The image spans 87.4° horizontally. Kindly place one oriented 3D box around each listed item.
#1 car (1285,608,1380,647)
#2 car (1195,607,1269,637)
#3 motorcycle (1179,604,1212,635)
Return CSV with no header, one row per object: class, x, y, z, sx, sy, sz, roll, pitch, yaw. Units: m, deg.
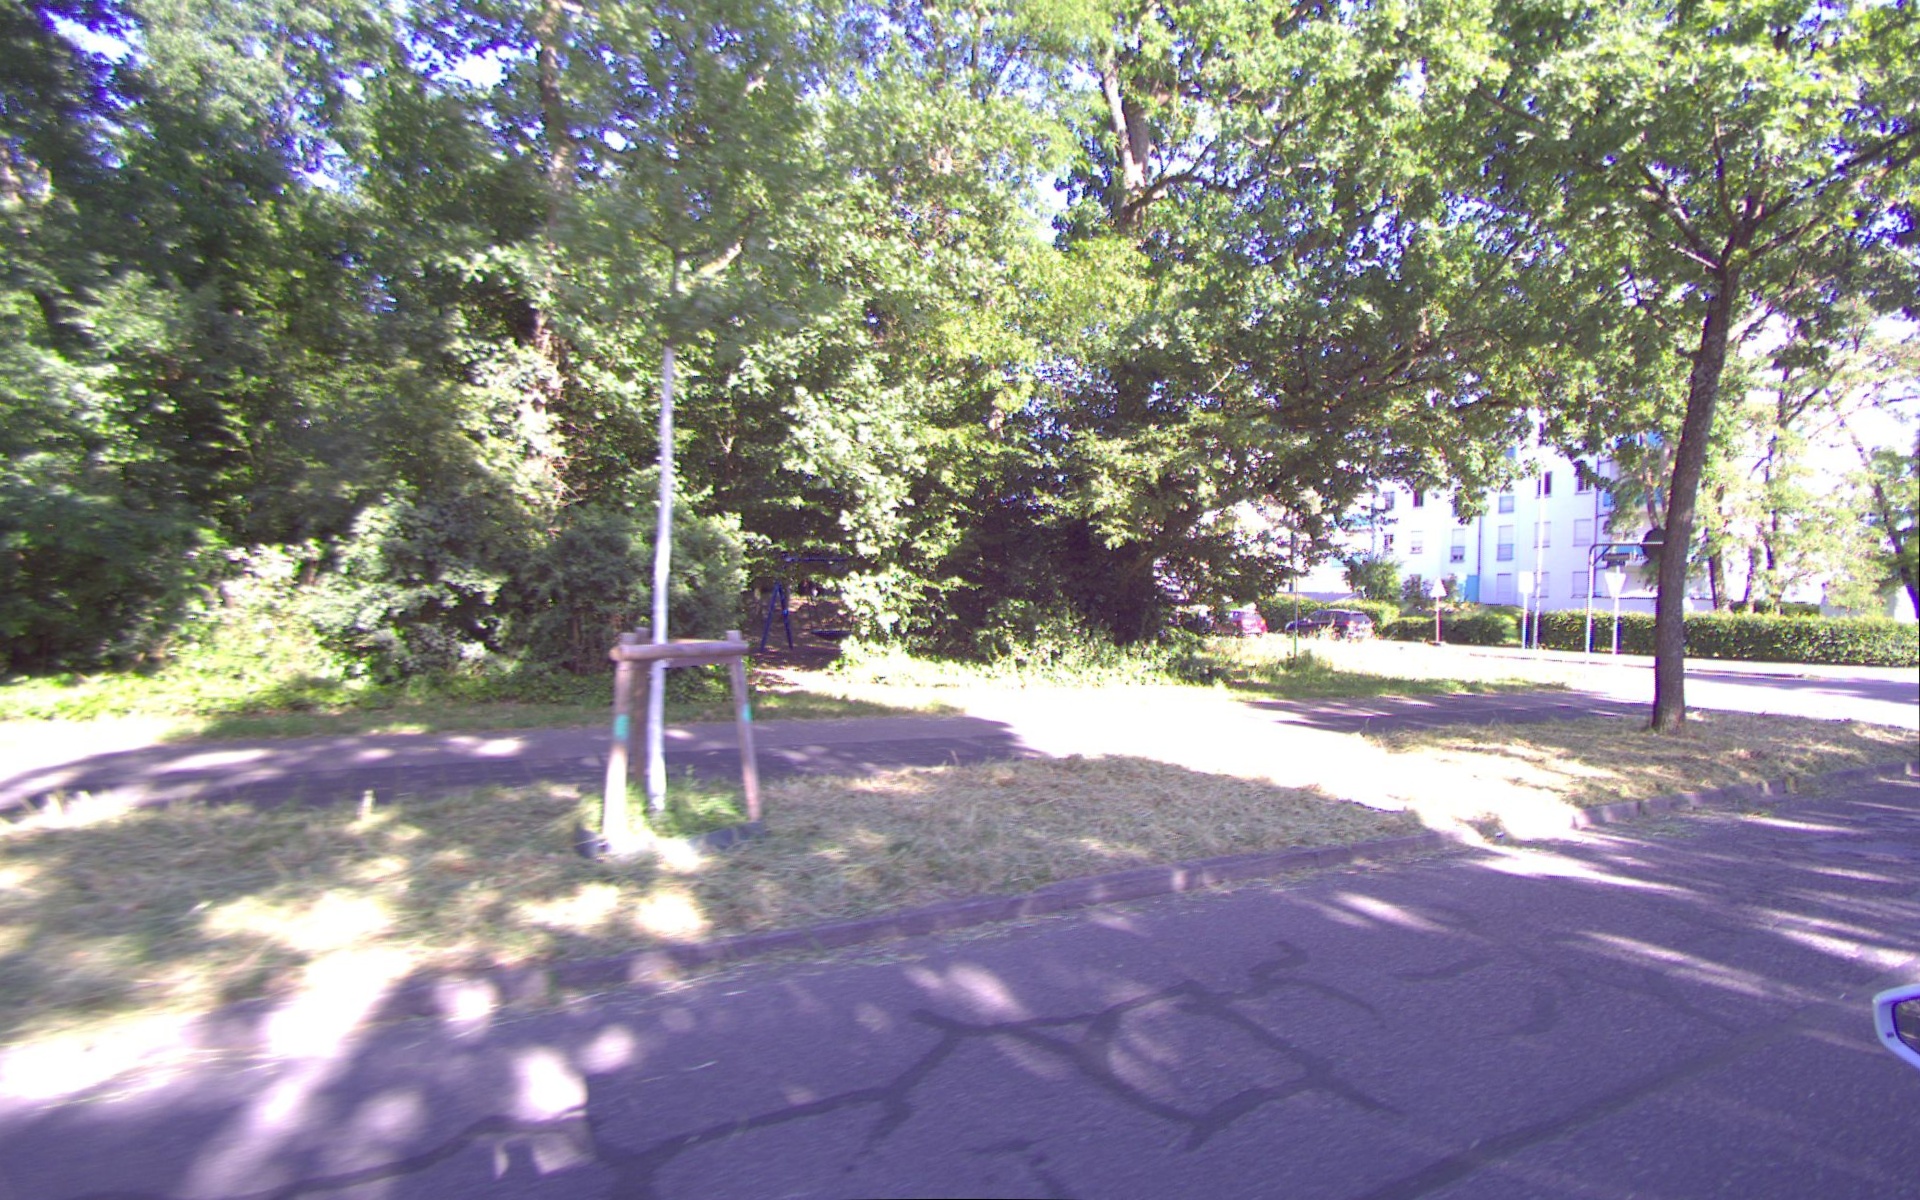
car,17.436,1.243,47.200,1.985,1.634,3.978,2,0,-23
car,14.441,1.151,53.543,1.785,1.442,3.978,1,0,-23
motorcycle,10.259,0.845,43.725,1.126,1.270,2.564,2,0,19
